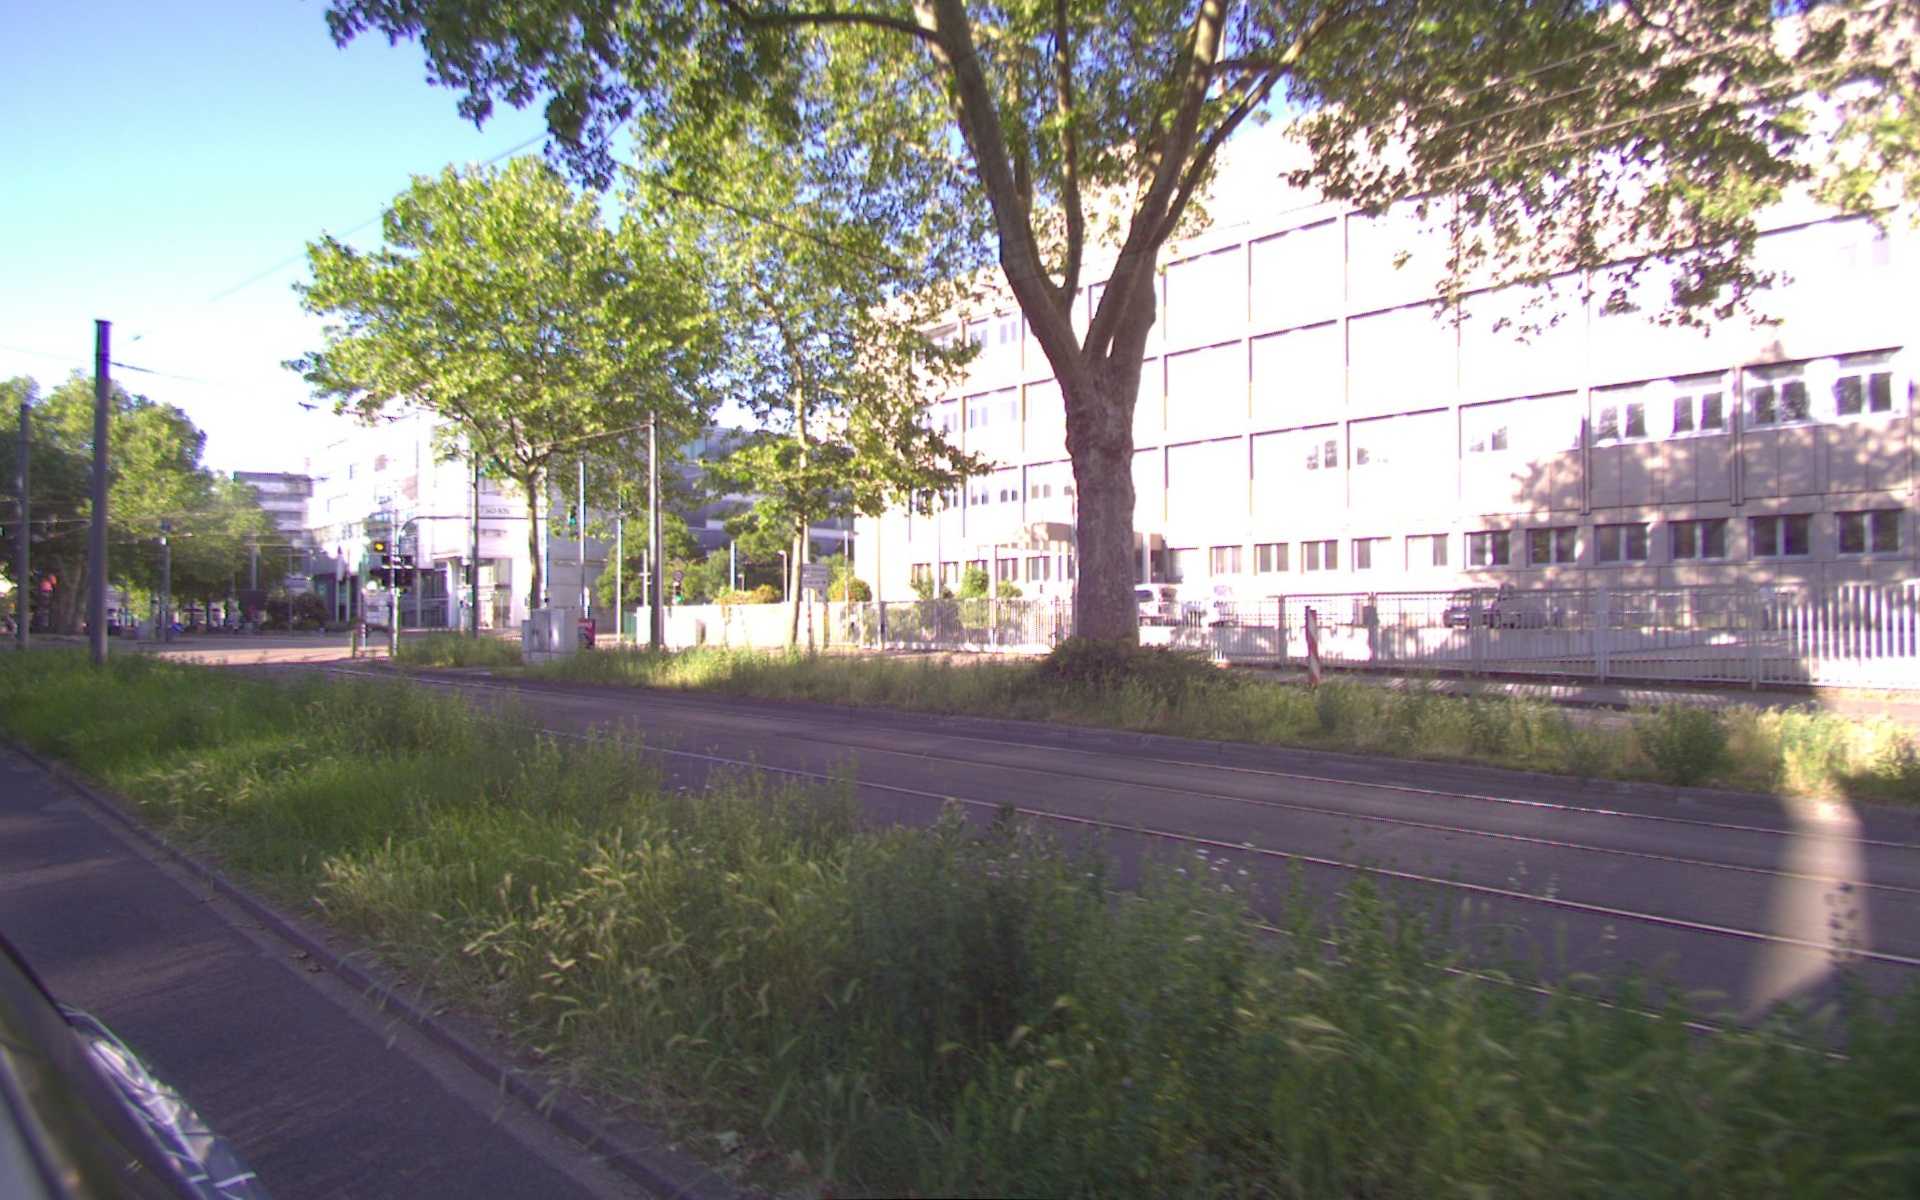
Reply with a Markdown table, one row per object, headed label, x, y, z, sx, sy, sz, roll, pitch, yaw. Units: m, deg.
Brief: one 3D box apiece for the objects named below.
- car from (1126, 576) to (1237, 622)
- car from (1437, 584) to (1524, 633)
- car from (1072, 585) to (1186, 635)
| label | x | y | z | sx | sy | sz | roll | pitch | yaw |
| --- | --- | --- | --- | --- | --- | --- | --- | --- | --- |
| car | 8.865 | 0.001 | 40.704 | 3.999 | 1.765 | 1.828 | -1 | -1 | 42 |
| car | 19.319 | 0.300 | 37.494 | 1.853 | 1.732 | 4.222 | -1 | -1 | 42 |
| car | 6.458 | 0.402 | 38.892 | 3.999 | 1.831 | 1.828 | -1 | -1 | 42 |
